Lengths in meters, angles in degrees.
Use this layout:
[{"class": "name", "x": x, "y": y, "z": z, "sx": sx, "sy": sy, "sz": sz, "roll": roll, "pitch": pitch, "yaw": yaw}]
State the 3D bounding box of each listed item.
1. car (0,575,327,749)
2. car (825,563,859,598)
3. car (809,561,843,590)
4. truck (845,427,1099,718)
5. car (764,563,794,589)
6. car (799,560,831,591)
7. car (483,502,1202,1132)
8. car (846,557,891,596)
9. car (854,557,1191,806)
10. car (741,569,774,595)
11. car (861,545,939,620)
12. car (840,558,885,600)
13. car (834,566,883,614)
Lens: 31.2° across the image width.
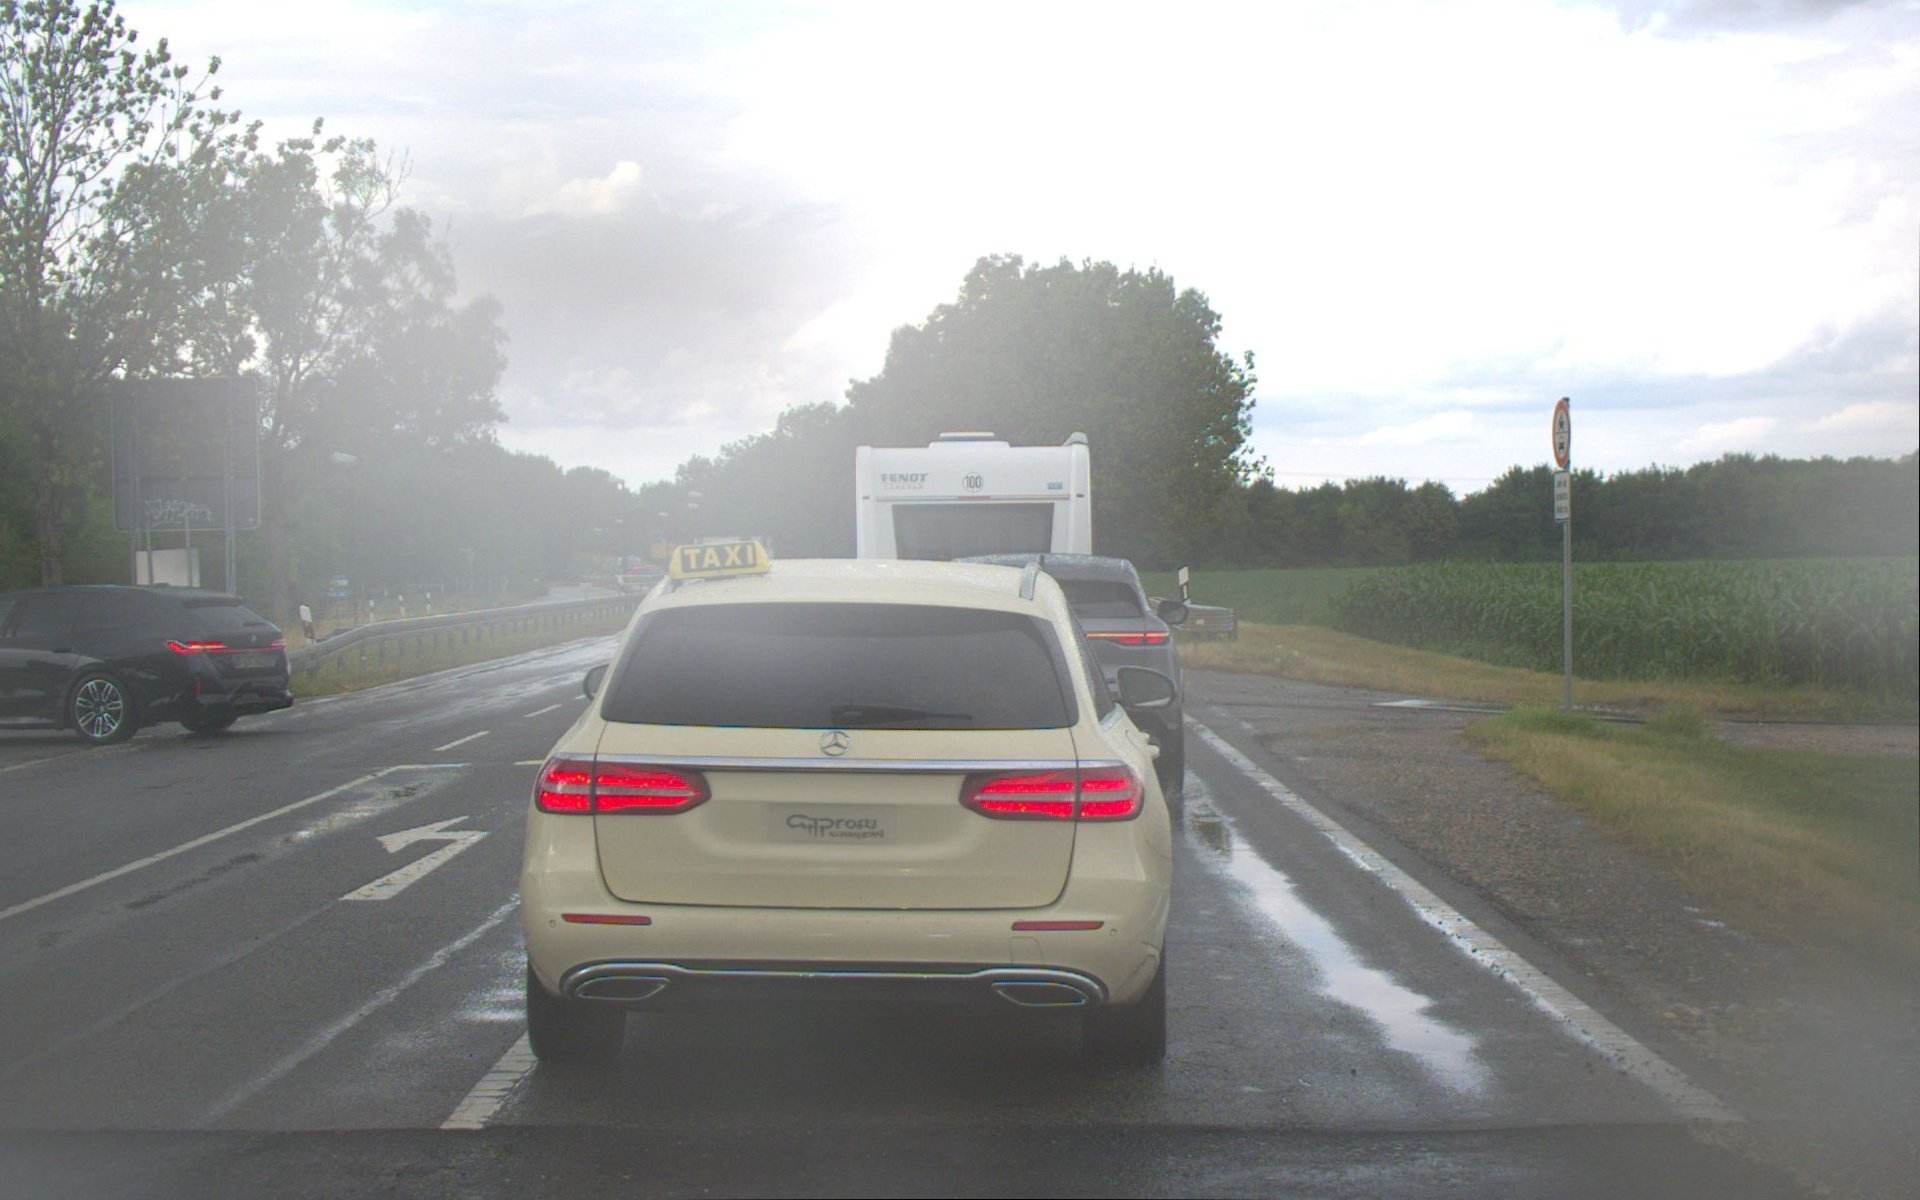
[{"class": "car", "x": -8.725, "y": 0.544, "z": 33.112, "sx": 4.621, "sy": 1.542, "sz": 2.307, "roll": 1, "pitch": 0, "yaw": 19}, {"class": "car", "x": -6.456, "y": -1.071, "z": 187.635, "sx": 1.740, "sy": 1.853, "sz": 3.785, "roll": -1, "pitch": 1, "yaw": -1}, {"class": "car", "x": -7.856, "y": -1.453, "z": 201.875, "sx": 1.748, "sy": 1.656, "sz": 3.673, "roll": -1, "pitch": 1, "yaw": -6}, {"class": "truck", "x": 0.077, "y": -0.309, "z": 36.350, "sx": 2.363, "sy": 2.719, "sz": 7.314, "roll": -1, "pitch": 1, "yaw": -1}, {"class": "car", "x": -12.783, "y": -1.703, "z": 242.668, "sx": 1.895, "sy": 1.833, "sz": 3.882, "roll": -1, "pitch": 1, "yaw": -1}, {"class": "car", "x": -8.988, "y": -1.534, "z": 213.036, "sx": 1.895, "sy": 1.888, "sz": 3.844, "roll": -1, "pitch": 1, "yaw": -4}, {"class": "car", "x": -0.325, "y": 0.540, "z": 10.847, "sx": 1.842, "sy": 1.612, "sz": 4.000, "roll": 0, "pitch": 1, "yaw": -1}, {"class": "car", "x": -4.320, "y": -1.132, "z": 161.657, "sx": 1.993, "sy": 1.766, "sz": 4.000, "roll": -1, "pitch": 1, "yaw": -3}, {"class": "car", "x": 0.352, "y": 0.473, "z": 22.542, "sx": 1.993, "sy": 1.457, "sz": 4.000, "roll": 1, "pitch": 0, "yaw": -1}, {"class": "car", "x": -12.637, "y": -1.141, "z": 214.972, "sx": 1.828, "sy": 1.568, "sz": 4.000, "roll": 1, "pitch": 0, "yaw": 0}, {"class": "car", "x": -1.524, "y": -0.452, "z": 87.775, "sx": 1.915, "sy": 1.834, "sz": 3.796, "roll": -1, "pitch": 1, "yaw": -1}, {"class": "car", "x": -4.227, "y": -0.935, "z": 149.161, "sx": 1.879, "sy": 1.755, "sz": 3.834, "roll": -1, "pitch": 1, "yaw": -1}, {"class": "car", "x": -3.911, "y": -0.388, "z": 132.668, "sx": 1.791, "sy": 1.771, "sz": 3.721, "roll": -1, "pitch": 1, "yaw": -1}]
